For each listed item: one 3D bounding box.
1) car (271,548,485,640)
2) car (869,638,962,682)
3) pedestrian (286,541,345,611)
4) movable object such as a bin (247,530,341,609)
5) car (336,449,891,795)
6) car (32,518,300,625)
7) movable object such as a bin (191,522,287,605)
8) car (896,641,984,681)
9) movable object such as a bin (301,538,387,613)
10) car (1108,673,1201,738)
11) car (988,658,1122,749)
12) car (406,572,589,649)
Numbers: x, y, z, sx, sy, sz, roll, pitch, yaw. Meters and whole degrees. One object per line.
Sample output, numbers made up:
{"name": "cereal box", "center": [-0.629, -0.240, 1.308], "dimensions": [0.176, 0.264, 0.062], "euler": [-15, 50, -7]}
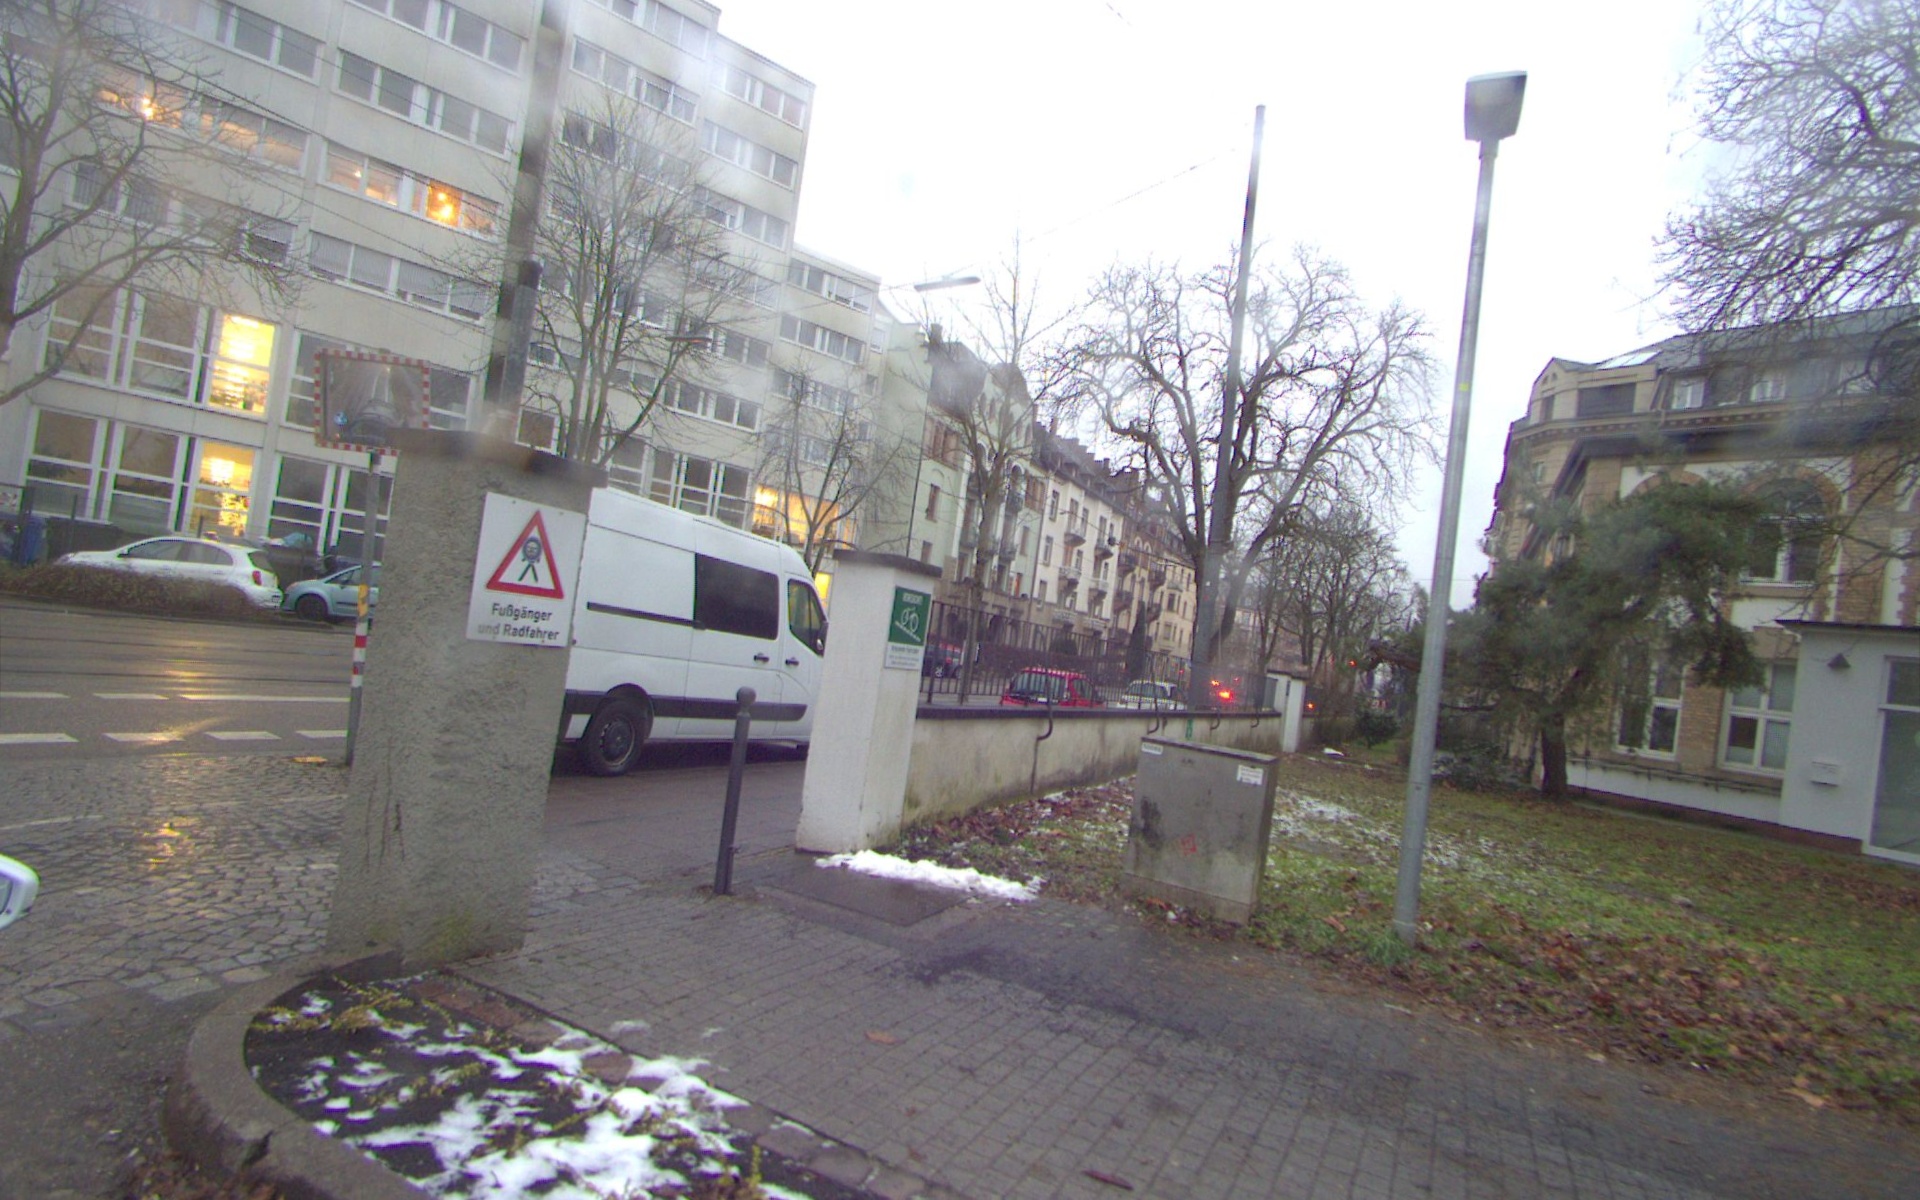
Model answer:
{"name": "car", "center": [-13.757, -0.110, 24.030], "dimensions": [3.939, 1.581, 1.732], "euler": [8, -2, -16]}
{"name": "car", "center": [-2.129, 2.873, 47.954], "dimensions": [3.944, 1.487, 1.825], "euler": [9, -2, -19]}
{"name": "pedestrian", "center": [-16.849, -0.616, 26.317], "dimensions": [0.588, 1.696, 0.973], "euler": [7, -1, 26]}
{"name": "movable object such as a bin", "center": [-18.108, -0.809, 27.369], "dimensions": [1.547, 1.882, 1.392], "euler": [7, -1, 28]}
{"name": "car", "center": [-3.028, 0.338, 10.459], "dimensions": [2.092, 2.515, 5.440], "euler": [7, -2, 24]}
{"name": "car", "center": [-16.178, -0.538, 20.736], "dimensions": [3.821, 1.569, 1.687], "euler": [8, -2, -19]}
{"name": "movable object such as a bin", "center": [-18.719, -0.939, 26.117], "dimensions": [1.547, 1.882, 1.316], "euler": [7, 0, 28]}
{"name": "car", "center": [-1.015, 3.078, 50.536], "dimensions": [3.940, 1.444, 1.843], "euler": [8, -2, -17]}
{"name": "movable object such as a bin", "center": [-17.496, -0.697, 28.570], "dimensions": [1.547, 1.882, 1.316], "euler": [7, 0, 28]}
{"name": "car", "center": [5.662, 3.028, 29.034], "dimensions": [1.667, 1.537, 3.638], "euler": [7, -2, 25]}
{"name": "car", "center": [2.100, 2.170, 21.337], "dimensions": [1.618, 1.541, 3.573], "euler": [8, -2, 24]}
{"name": "car", "center": [-12.171, 0.325, 26.706], "dimensions": [3.931, 1.459, 1.737], "euler": [8, -3, -7]}
